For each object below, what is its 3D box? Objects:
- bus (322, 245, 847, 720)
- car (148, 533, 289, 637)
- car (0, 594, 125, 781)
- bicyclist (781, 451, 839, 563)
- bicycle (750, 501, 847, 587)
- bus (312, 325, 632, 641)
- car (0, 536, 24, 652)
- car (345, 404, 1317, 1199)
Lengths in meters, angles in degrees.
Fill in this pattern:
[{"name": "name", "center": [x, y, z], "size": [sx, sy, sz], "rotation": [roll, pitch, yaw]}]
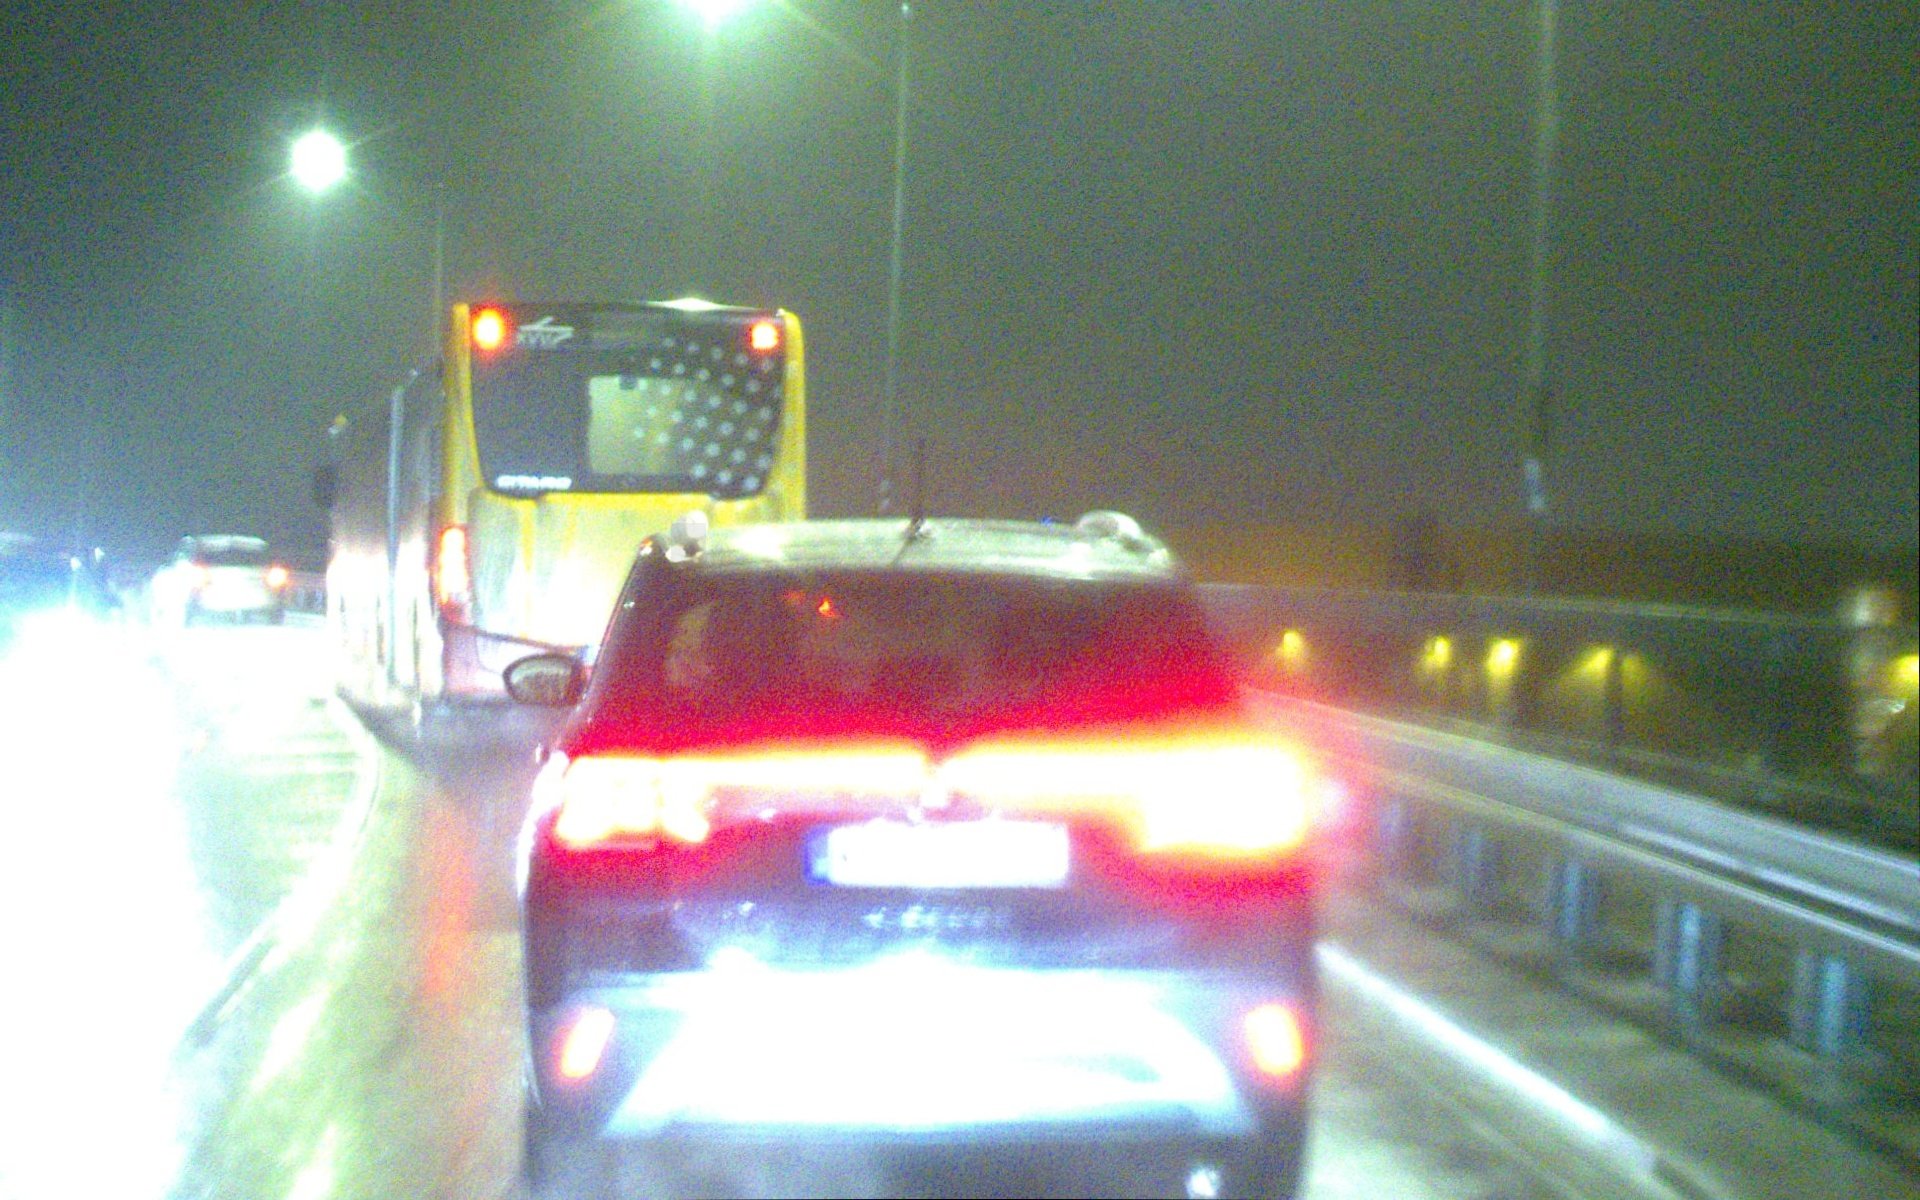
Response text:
[{"name": "bus", "center": [-3.634, -0.972, 29.168], "size": [3.082, 3.122, 12.701], "rotation": [-1, 2, -12]}, {"name": "car", "center": [-12.670, -0.247, 58.634], "size": [1.636, 1.650, 3.711], "rotation": [-3, 1, -22]}, {"name": "car", "center": [-8.093, 0.679, 29.010], "size": [1.682, 1.386, 4.452], "rotation": [1, 1, -9]}, {"name": "bicyclist", "center": [-1.831, -1.130, 41.849], "size": [0.452, 1.345, 0.764], "rotation": [1, 1, -22]}, {"name": "bicycle", "center": [-1.998, -0.684, 42.296], "size": [0.484, 1.031, 2.172], "rotation": [0, 1, -22]}, {"name": "bus", "center": [-5.753, -1.303, 39.316], "size": [3.048, 3.121, 8.081], "rotation": [2, 1, -11]}, {"name": "car", "center": [-16.988, -0.113, 58.148], "size": [1.753, 1.854, 4.001], "rotation": [-3, 2, -21]}, {"name": "car", "center": [-0.430, 0.437, 8.663], "size": [1.855, 1.581, 4.001], "rotation": [1, 0, -5]}]
